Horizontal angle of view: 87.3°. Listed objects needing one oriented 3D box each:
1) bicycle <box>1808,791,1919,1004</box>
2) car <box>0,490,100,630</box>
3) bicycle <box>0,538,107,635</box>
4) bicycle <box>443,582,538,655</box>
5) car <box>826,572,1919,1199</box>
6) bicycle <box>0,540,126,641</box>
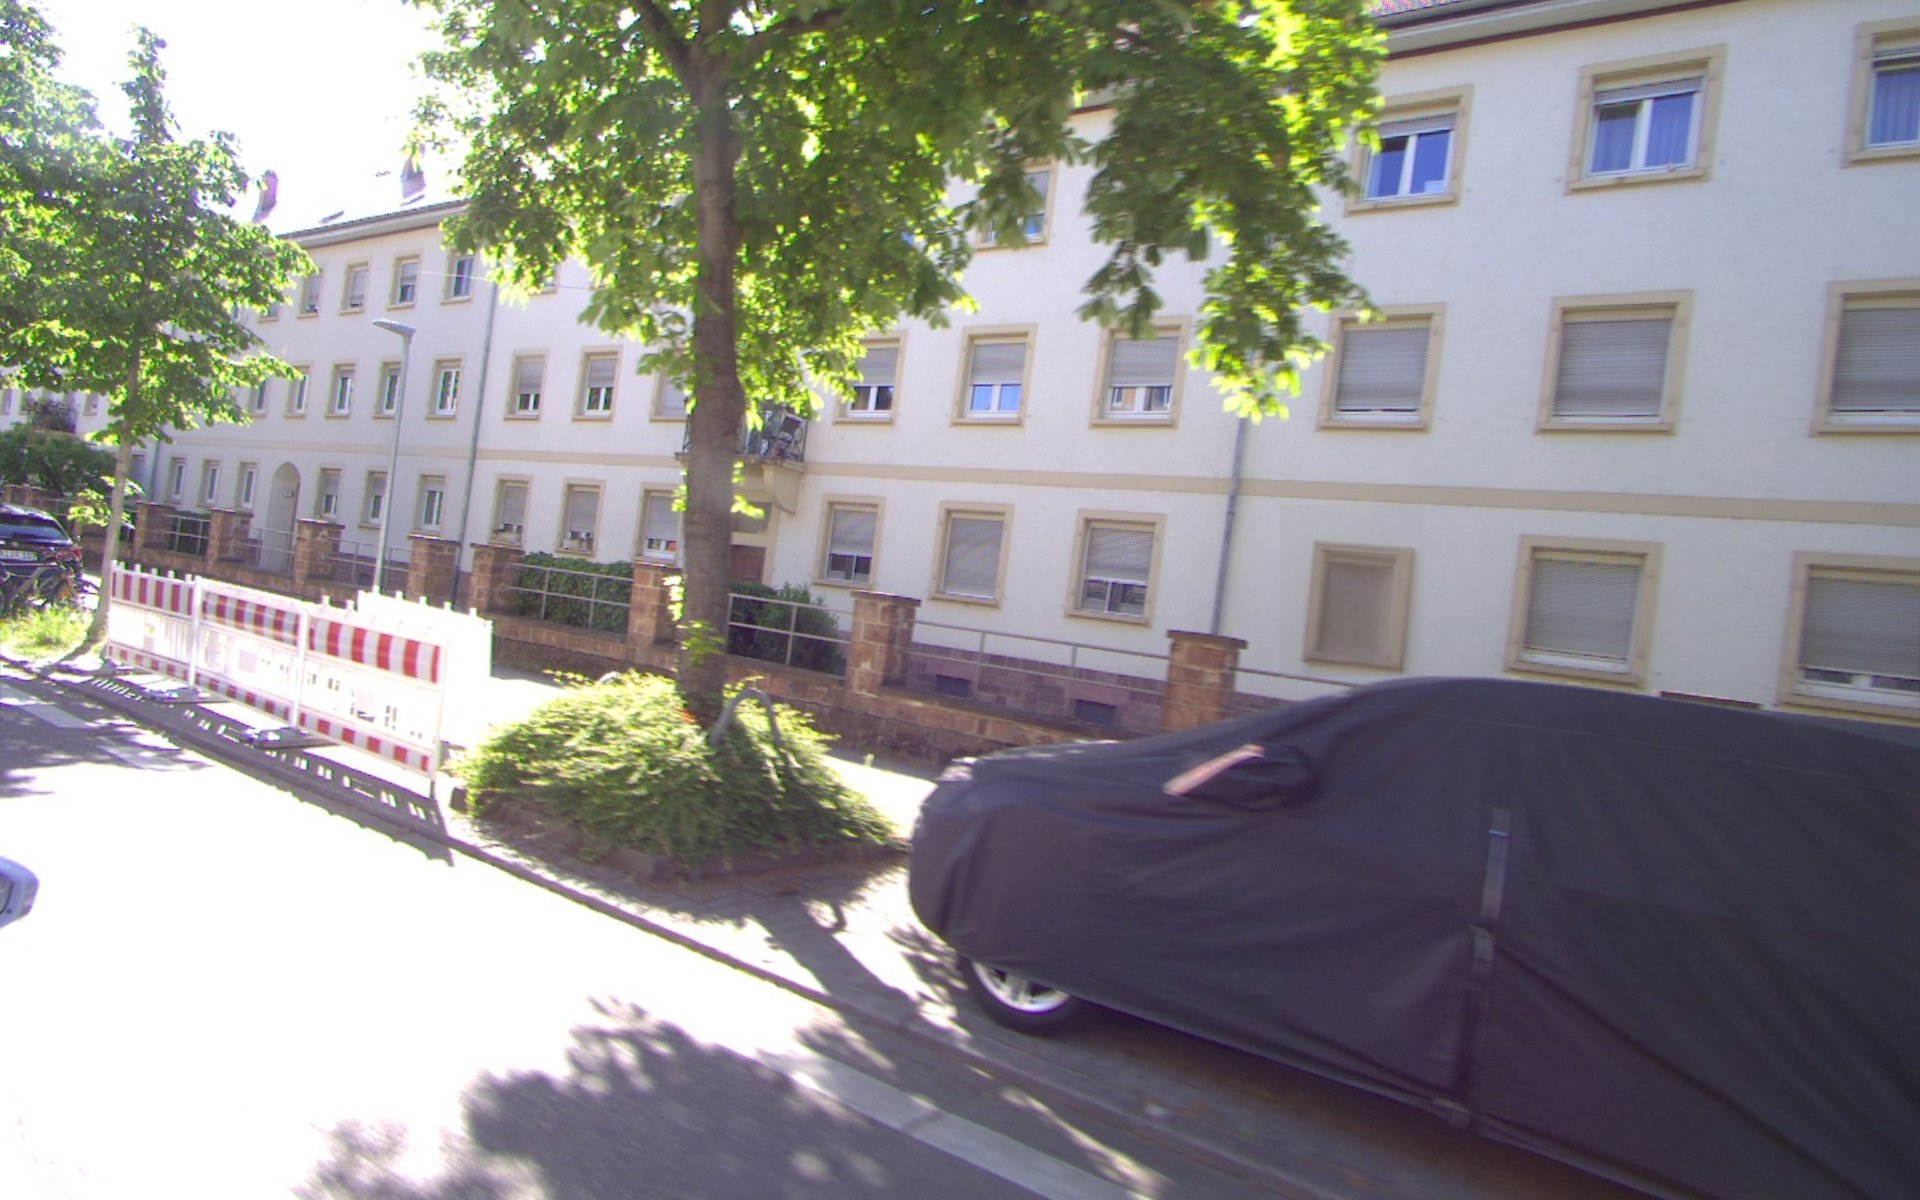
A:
[{"bbox_3d":[6.668,2.040,6.493,1.647,1.253,0.448,7,0,31],"label":"bicycle"},{"bbox_3d":[-14.417,-0.759,14.557,4.161,1.781,1.669,7,-1,32],"label":"car"},{"bbox_3d":[-11.982,-0.207,12.649,0.426,1.089,1.765,7,-3,33],"label":"bicycle"},{"bbox_3d":[-8.453,0.322,18.084,1.841,1.066,0.560,7,-1,33],"label":"bicycle"},{"bbox_3d":[1.837,1.096,4.027,4.403,1.785,1.748,7,-3,32],"label":"car"},{"bbox_3d":[-11.552,-0.142,12.428,0.426,1.089,1.765,7,-3,33],"label":"bicycle"}]
